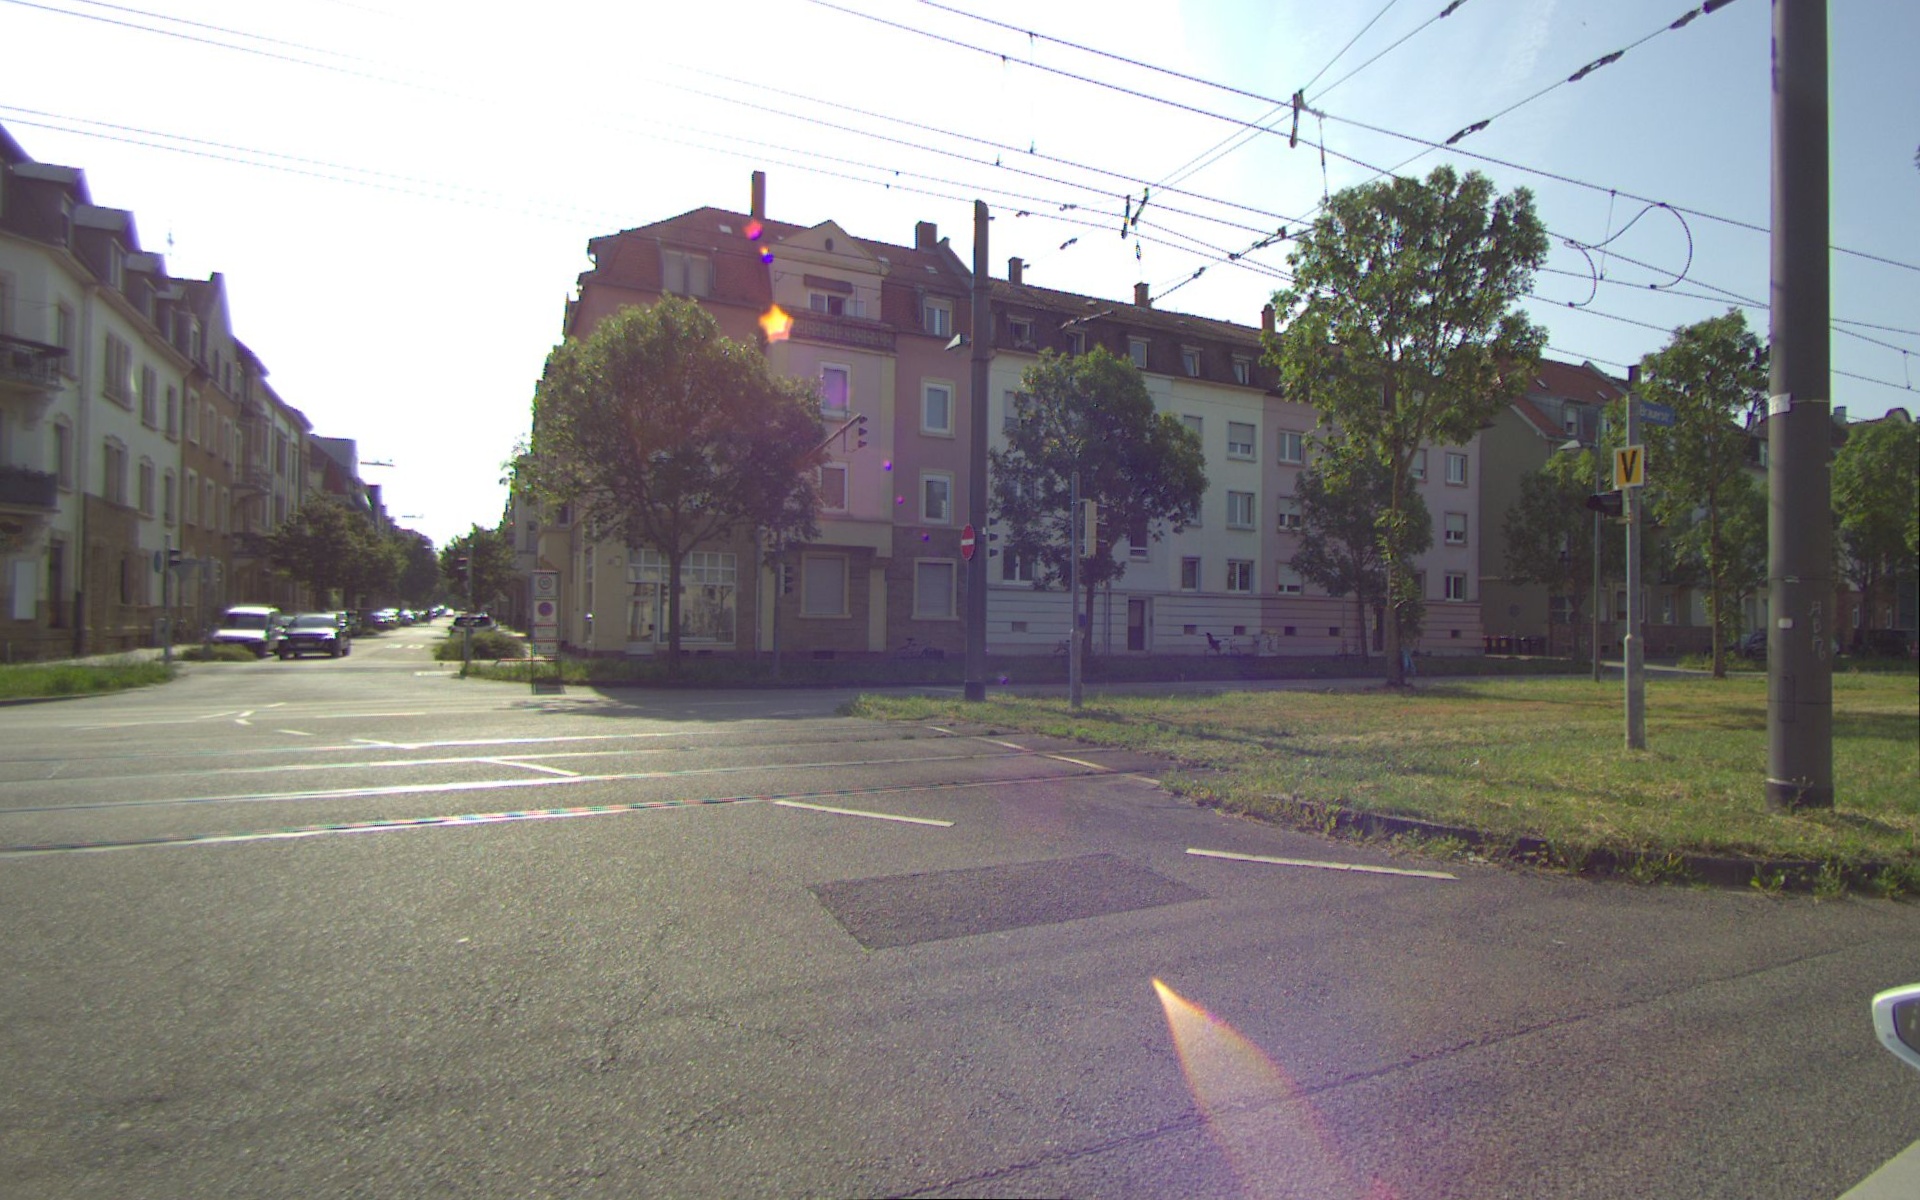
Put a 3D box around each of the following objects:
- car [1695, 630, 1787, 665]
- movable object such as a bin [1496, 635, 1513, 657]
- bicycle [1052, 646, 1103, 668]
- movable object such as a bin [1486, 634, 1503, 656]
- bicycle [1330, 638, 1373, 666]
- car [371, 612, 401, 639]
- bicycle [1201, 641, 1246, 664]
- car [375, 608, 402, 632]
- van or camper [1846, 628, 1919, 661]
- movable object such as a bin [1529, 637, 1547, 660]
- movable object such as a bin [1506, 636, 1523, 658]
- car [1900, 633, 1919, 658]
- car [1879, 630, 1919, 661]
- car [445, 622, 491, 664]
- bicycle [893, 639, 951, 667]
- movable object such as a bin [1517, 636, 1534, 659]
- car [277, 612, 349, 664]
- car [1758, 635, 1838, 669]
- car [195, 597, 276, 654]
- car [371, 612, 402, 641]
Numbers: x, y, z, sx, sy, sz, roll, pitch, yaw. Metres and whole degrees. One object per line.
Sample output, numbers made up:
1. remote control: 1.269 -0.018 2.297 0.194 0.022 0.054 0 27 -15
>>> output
1. car: 40.375 2.455 51.886 4.716 1.650 1.985 2 1 -28
2. movable object such as a bin: 31.400 2.654 57.926 0.632 1.227 0.583 2 1 -28
3. bicycle: 4.328 2.101 36.958 1.923 0.799 0.435 2 0 -28
4. movable object such as a bin: 31.103 2.639 58.489 0.632 1.227 0.583 2 1 -28
5. bicycle: 16.848 2.221 43.196 1.923 1.143 0.601 2 0 -28
6. car: -48.032 2.103 83.971 1.978 2.040 3.964 2 0 -32
7. bicycle: 10.463 2.105 39.928 1.923 0.868 0.445 2 0 -28
8. car: -53.743 1.829 94.481 1.978 2.040 3.964 2 0 -32
9. van or camper: 52.875 2.511 56.584 1.962 1.645 4.853 2 0 7
10. movable object such as a bin: 32.354 2.699 56.198 0.632 1.227 0.583 2 1 -28
11. movable object such as a bin: 31.685 2.667 57.381 0.632 1.227 0.583 2 1 -28
12. car: 57.880 2.755 58.661 1.935 1.438 4.478 2 0 5
13. car: 55.425 2.658 56.954 2.015 1.645 5.224 2 0 4
14. car: -19.963 1.724 40.679 1.550 1.481 3.384 2 0 -28
15. bicycle: -1.282 1.800 33.954 1.923 0.901 0.465 2 0 -28
16. movable object such as a bin: 31.990 2.682 56.813 0.632 1.227 0.583 2 1 -28
17. car: -23.623 1.348 36.778 1.811 1.642 3.970 2 0 -28
18. car: 45.532 2.815 54.567 4.104 1.650 1.882 2 1 -28
19. car: -26.461 0.897 36.825 1.811 1.874 3.970 2 0 -28
20. car: -44.215 2.016 77.393 1.978 2.040 3.966 2 0 -31
